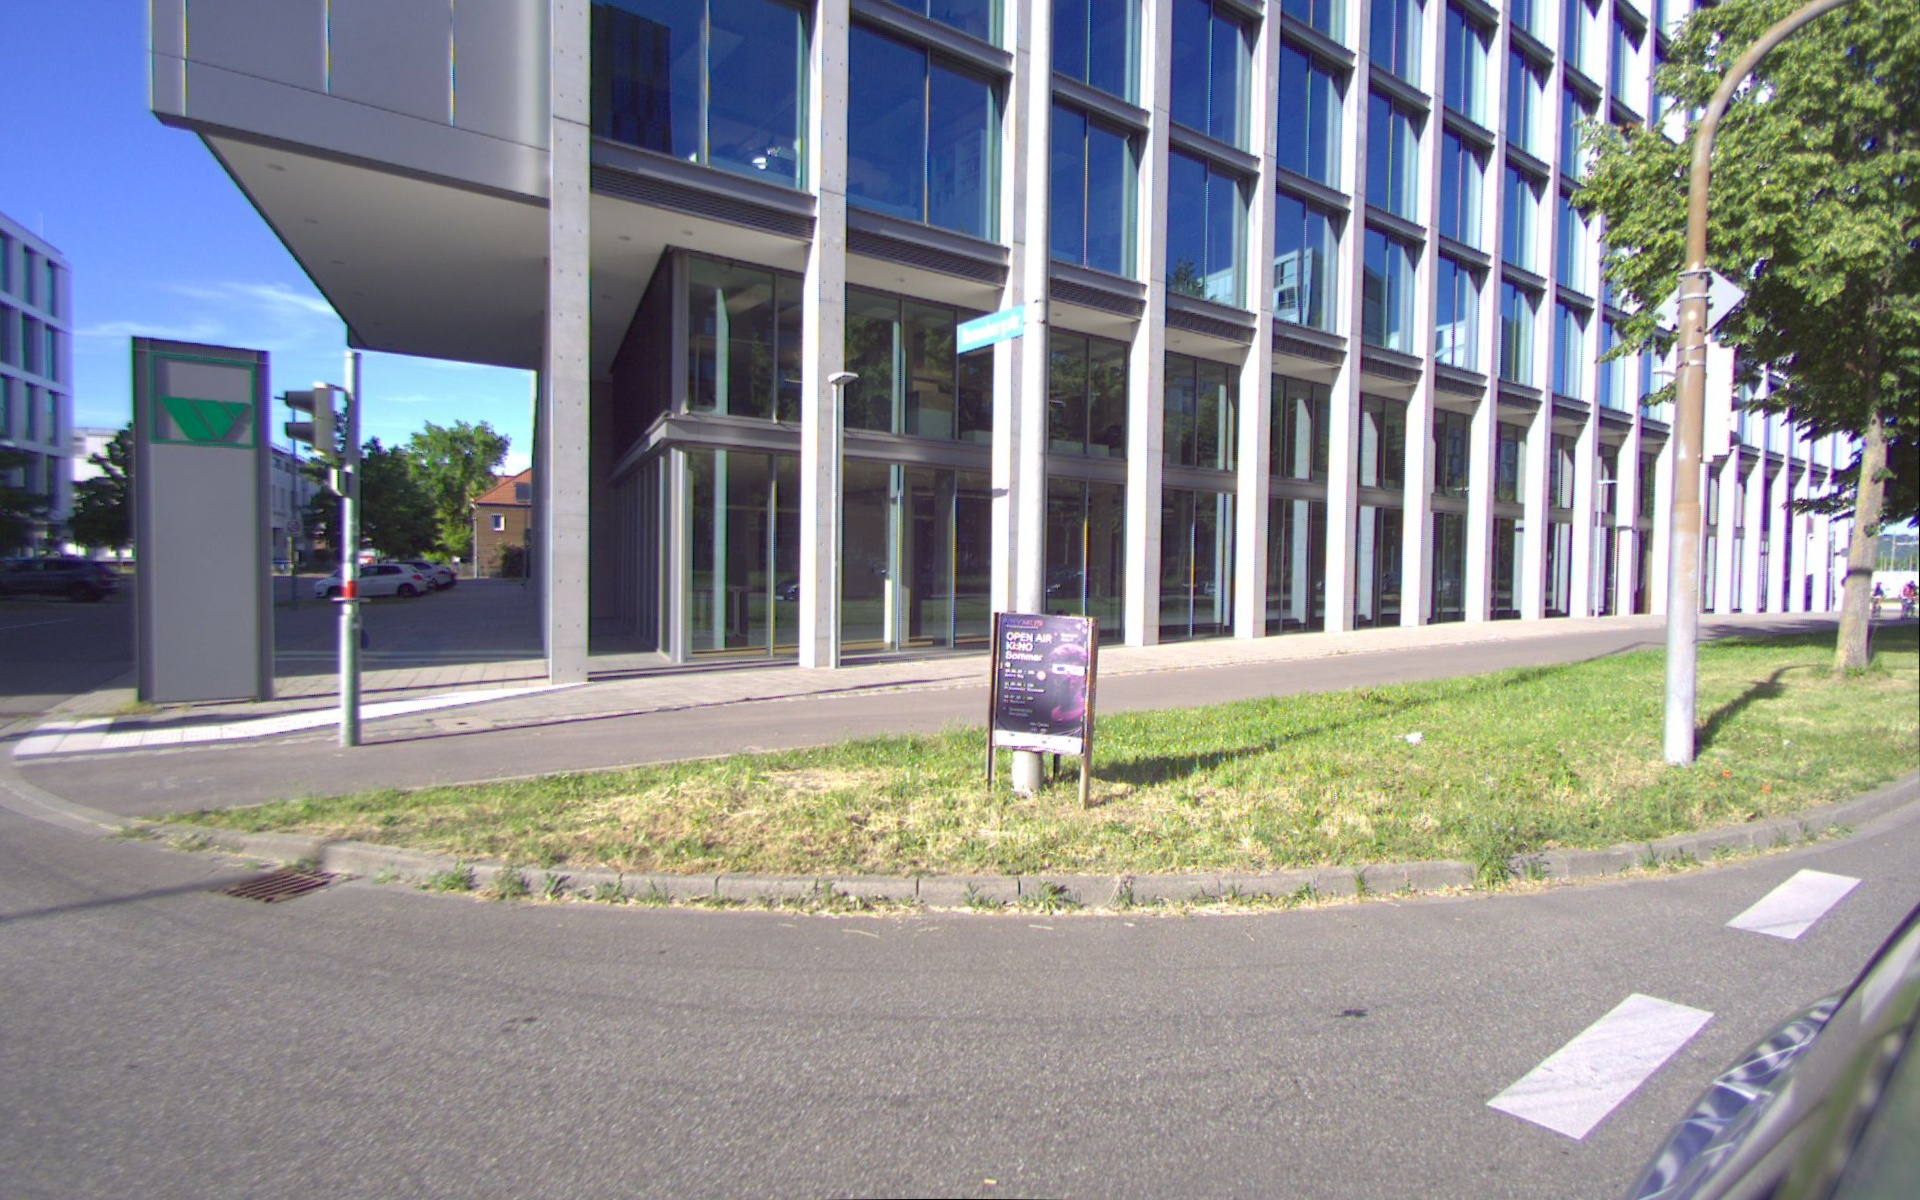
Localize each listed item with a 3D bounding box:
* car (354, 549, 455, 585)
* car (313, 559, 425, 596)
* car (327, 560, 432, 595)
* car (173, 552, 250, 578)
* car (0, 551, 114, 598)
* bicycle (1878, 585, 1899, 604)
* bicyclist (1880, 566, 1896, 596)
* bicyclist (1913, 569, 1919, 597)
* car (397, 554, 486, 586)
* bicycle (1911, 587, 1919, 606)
[{"bbox_3d":[-28.340,-1.672,51.805,4.365,1.749,1.797,0,2,-23],"label":"car"},{"bbox_3d":[-24.814,-0.946,42.646,3.917,1.523,1.663,0,2,-24],"label":"car"},{"bbox_3d":[-25.843,-1.020,45.177,3.917,1.523,1.663,0,2,-24],"label":"car"},{"bbox_3d":[-53.038,-2.466,71.757,4.043,1.816,1.873,0,2,-23],"label":"car"},{"bbox_3d":[-34.990,-0.968,38.347,4.209,1.734,1.662,0,2,-29],"label":"car"},{"bbox_3d":[41.249,-0.248,44.959,1.295,0.828,0.415,-1,2,-36],"label":"bicycle"},{"bbox_3d":[41.247,-0.855,44.972,0.410,1.305,0.448,-1,1,-36],"label":"bicyclist"},{"bbox_3d":[41.916,-0.748,44.066,0.498,1.232,0.535,-1,1,-36],"label":"bicyclist"},{"bbox_3d":[-29.293,-1.708,57.312,4.365,1.749,1.797,0,2,-23],"label":"car"},{"bbox_3d":[41.884,-0.157,44.043,1.319,0.828,0.465,-1,2,-36],"label":"bicycle"}]
